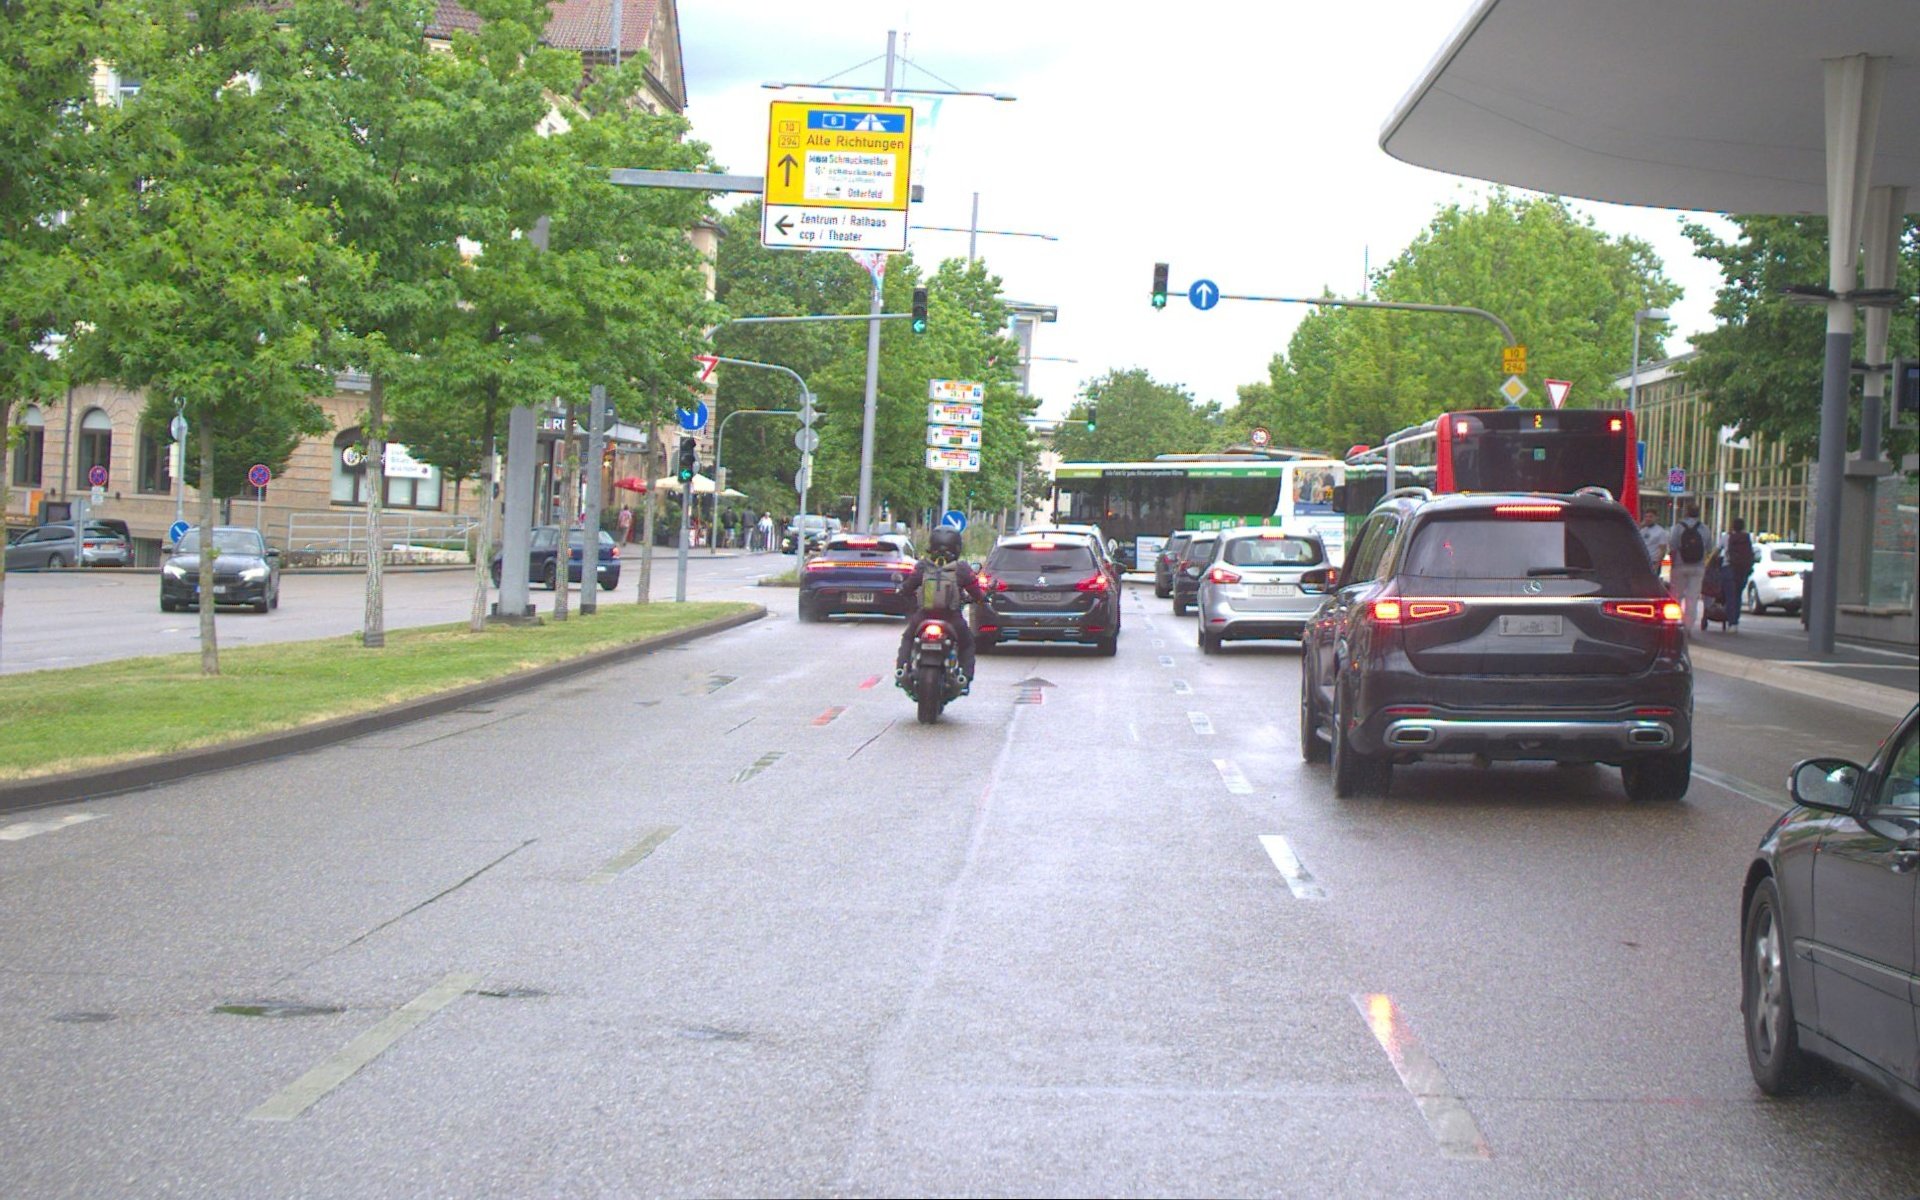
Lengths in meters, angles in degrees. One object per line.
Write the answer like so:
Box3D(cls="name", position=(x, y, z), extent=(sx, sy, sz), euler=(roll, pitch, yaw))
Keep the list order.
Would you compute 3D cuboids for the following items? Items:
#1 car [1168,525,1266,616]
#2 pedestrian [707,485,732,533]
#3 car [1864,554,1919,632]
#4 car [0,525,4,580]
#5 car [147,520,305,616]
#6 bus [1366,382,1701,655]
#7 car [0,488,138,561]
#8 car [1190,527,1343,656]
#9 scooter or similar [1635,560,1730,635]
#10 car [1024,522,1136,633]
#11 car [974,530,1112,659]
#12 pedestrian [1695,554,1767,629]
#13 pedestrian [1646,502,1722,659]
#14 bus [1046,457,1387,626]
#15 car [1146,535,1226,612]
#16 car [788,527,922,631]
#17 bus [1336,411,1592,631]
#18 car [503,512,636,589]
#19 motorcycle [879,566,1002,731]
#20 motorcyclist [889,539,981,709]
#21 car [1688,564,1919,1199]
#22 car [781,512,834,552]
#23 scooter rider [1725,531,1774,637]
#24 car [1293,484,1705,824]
Box3D(cls="car", position=(4.521, -0.544, 60.860), extent=(1.575, 1.562, 3.871), euler=(0, 1, 2))
Box3D(cls="pedestrian", position=(-9.806, -3.718, 140.212), extent=(0.724, 1.959, 0.826), euler=(1, 1, -24))
Box3D(cls="car", position=(20.150, -0.136, 71.638), extent=(1.540, 1.554, 3.409), euler=(2, 1, -2))
Box3D(cls="car", position=(-29.743, -1.421, 102.356), extent=(1.658, 1.599, 3.253), euler=(-2, 3, -30))
Box3D(cls="car", position=(-12.511, -0.561, 58.855), extent=(1.680, 1.522, 4.640), euler=(2, 1, 0))
Box3D(cls="bus", position=(7.706, -1.115, 47.797), extent=(3.286, 3.280, 10.877), euler=(1, 1, 3))
Box3D(cls="car", position=(-24.027, -2.038, 92.654), extent=(1.866, 1.678, 3.999), euler=(7, -2, -41))
Box3D(cls="car", position=(3.844, -0.147, 43.590), extent=(1.741, 1.562, 3.871), euler=(0, 1, 2))
Box3D(cls="scooter or similar", position=(10.355, -0.037, 49.268), extent=(1.244, 1.009, 0.763), euler=(2, 0, 16))
Box3D(cls="car", position=(1.760, -0.356, 50.454), extent=(1.575, 1.562, 3.871), euler=(0, 1, 2))
Box3D(cls="car", position=(1.055, -0.107, 42.102), extent=(1.576, 1.499, 3.871), euler=(0, 1, 3))
Box3D(cls="pedestrian", position=(10.954, -0.119, 48.842), extent=(0.914, 0.981, 0.633), euler=(3, -3, 16))
Box3D(cls="pedestrian", position=(9.627, -0.265, 45.699), extent=(0.778, 2.006, 0.781), euler=(5, 2, 15))
Box3D(cls="bus", position=(6.324, -1.554, 87.833), extent=(2.837, 3.974, 11.866), euler=(2, 1, -27))
Box3D(cls="car", position=(4.774, -0.586, 72.943), extent=(1.575, 1.562, 3.796), euler=(0, 1, 2))
Box3D(cls="car", position=(-1.611, -0.361, 54.136), extent=(1.816, 1.565, 4.404), euler=(0, 1, 2))
Box3D(cls="bus", position=(8.170, -1.293, 56.872), extent=(3.291, 3.278, 8.849), euler=(1, 1, 3))
Box3D(cls="car", position=(-8.901, -1.142, 78.141), extent=(1.836, 1.622, 3.706), euler=(2, 1, -26))
Box3D(cls="motorcycle", position=(-0.143, 0.369, 27.748), extent=(0.793, 1.258, 1.855), euler=(1, 1, 6))
Box3D(cls="motorcyclist", position=(-0.200, 0.183, 27.736), extent=(0.641, 1.343, 0.688), euler=(1, 1, 6))
Box3D(cls="car", position=(2.915, 0.689, 7.691), extent=(1.697, 1.457, 4.304), euler=(1, 1, 1))
Box3D(cls="car", position=(-5.924, -2.652, 134.099), extent=(1.780, 1.562, 3.430), euler=(0, 1, 2))
Box3D(cls="scooter rider", position=(11.218, -0.226, 48.843), extent=(0.592, 1.485, 0.764), euler=(2, 0, 16))
Box3D(cls="car", position=(3.198, 0.240, 21.347), extent=(1.957, 1.869, 4.873), euler=(0, 1, 2))
